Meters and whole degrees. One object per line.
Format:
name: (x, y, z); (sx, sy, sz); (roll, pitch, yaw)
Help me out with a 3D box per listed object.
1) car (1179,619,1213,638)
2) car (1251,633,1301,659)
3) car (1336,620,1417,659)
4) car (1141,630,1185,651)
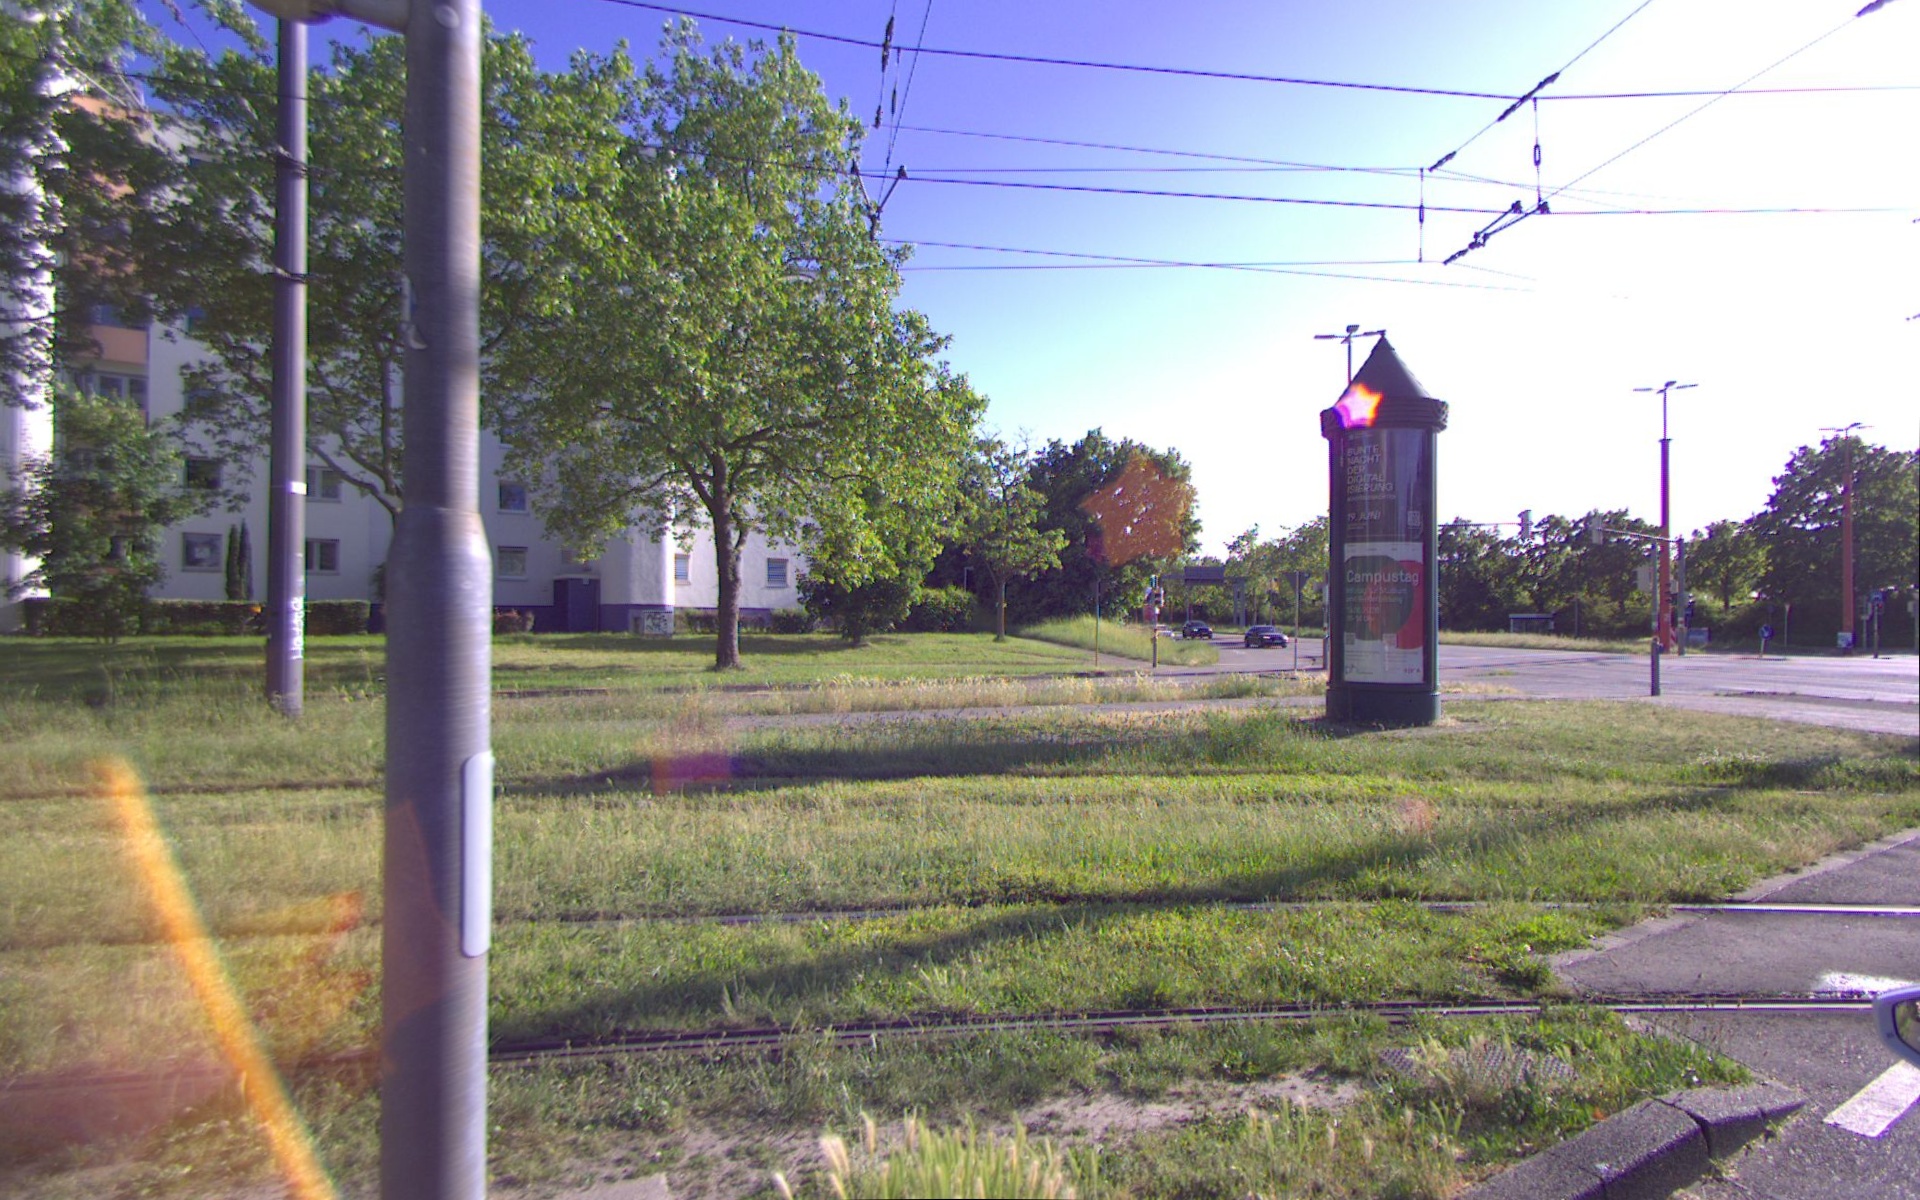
car: (21.862, 2.615, 93.249); (1.868, 1.632, 4.563); (-1, -1, -4)
car: (19.643, 2.832, 62.650); (1.866, 1.494, 4.567); (-1, -1, 3)
car: (20.574, 1.904, 49.821); (1.868, 1.798, 4.445); (-1, -1, -4)
car: (16.032, 3.205, 79.508); (1.872, 1.571, 4.250); (-1, -1, -13)
